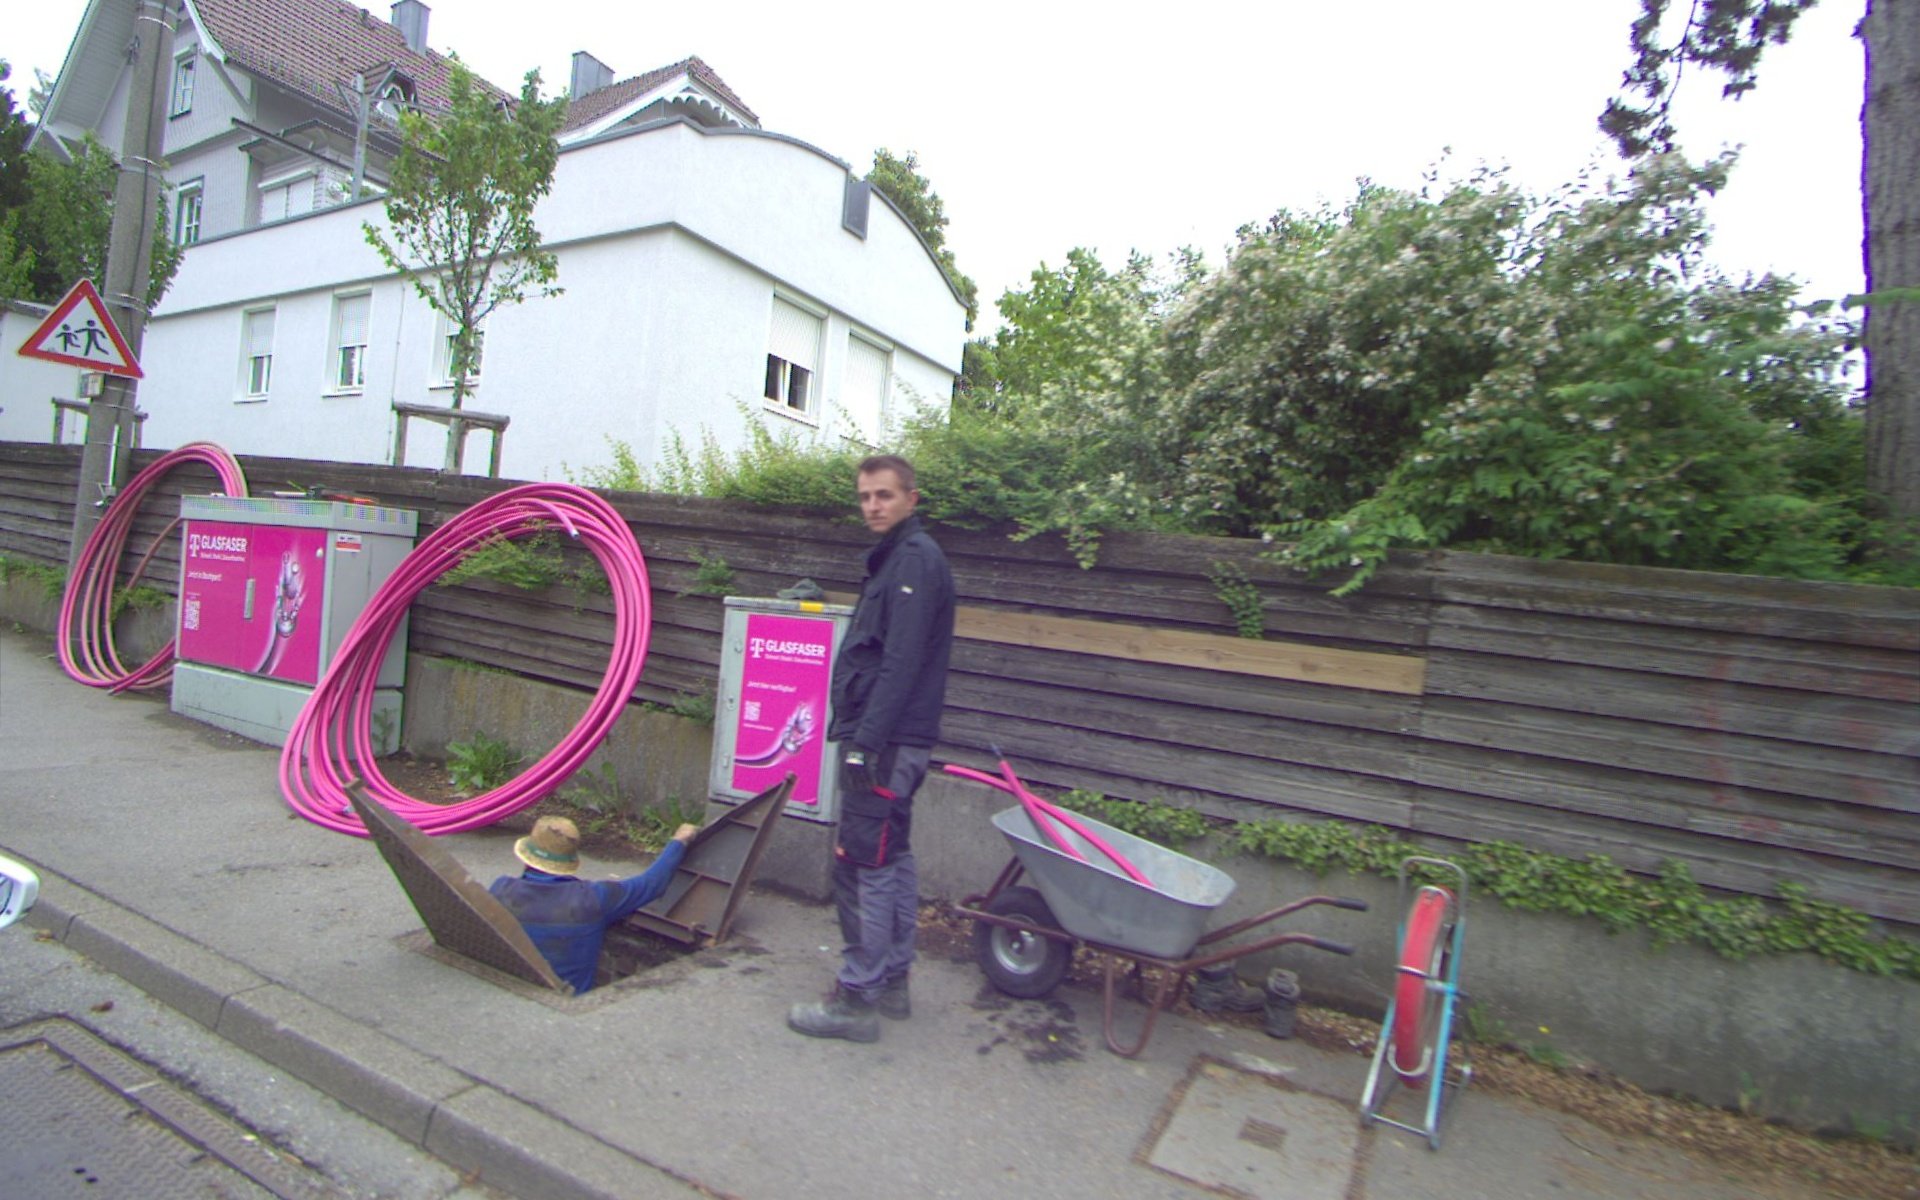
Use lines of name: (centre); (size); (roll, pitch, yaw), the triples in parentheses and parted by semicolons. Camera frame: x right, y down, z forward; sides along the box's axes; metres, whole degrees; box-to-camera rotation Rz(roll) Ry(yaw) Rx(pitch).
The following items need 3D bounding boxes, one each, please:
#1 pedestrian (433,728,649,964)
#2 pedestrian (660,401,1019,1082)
pedestrian: (-1.568, 0.914, 3.859); (0.575, 0.705, 0.645); (7, 0, -12)
pedestrian: (-0.352, 0.422, 3.444); (0.786, 1.947, 0.849); (7, 0, 10)
